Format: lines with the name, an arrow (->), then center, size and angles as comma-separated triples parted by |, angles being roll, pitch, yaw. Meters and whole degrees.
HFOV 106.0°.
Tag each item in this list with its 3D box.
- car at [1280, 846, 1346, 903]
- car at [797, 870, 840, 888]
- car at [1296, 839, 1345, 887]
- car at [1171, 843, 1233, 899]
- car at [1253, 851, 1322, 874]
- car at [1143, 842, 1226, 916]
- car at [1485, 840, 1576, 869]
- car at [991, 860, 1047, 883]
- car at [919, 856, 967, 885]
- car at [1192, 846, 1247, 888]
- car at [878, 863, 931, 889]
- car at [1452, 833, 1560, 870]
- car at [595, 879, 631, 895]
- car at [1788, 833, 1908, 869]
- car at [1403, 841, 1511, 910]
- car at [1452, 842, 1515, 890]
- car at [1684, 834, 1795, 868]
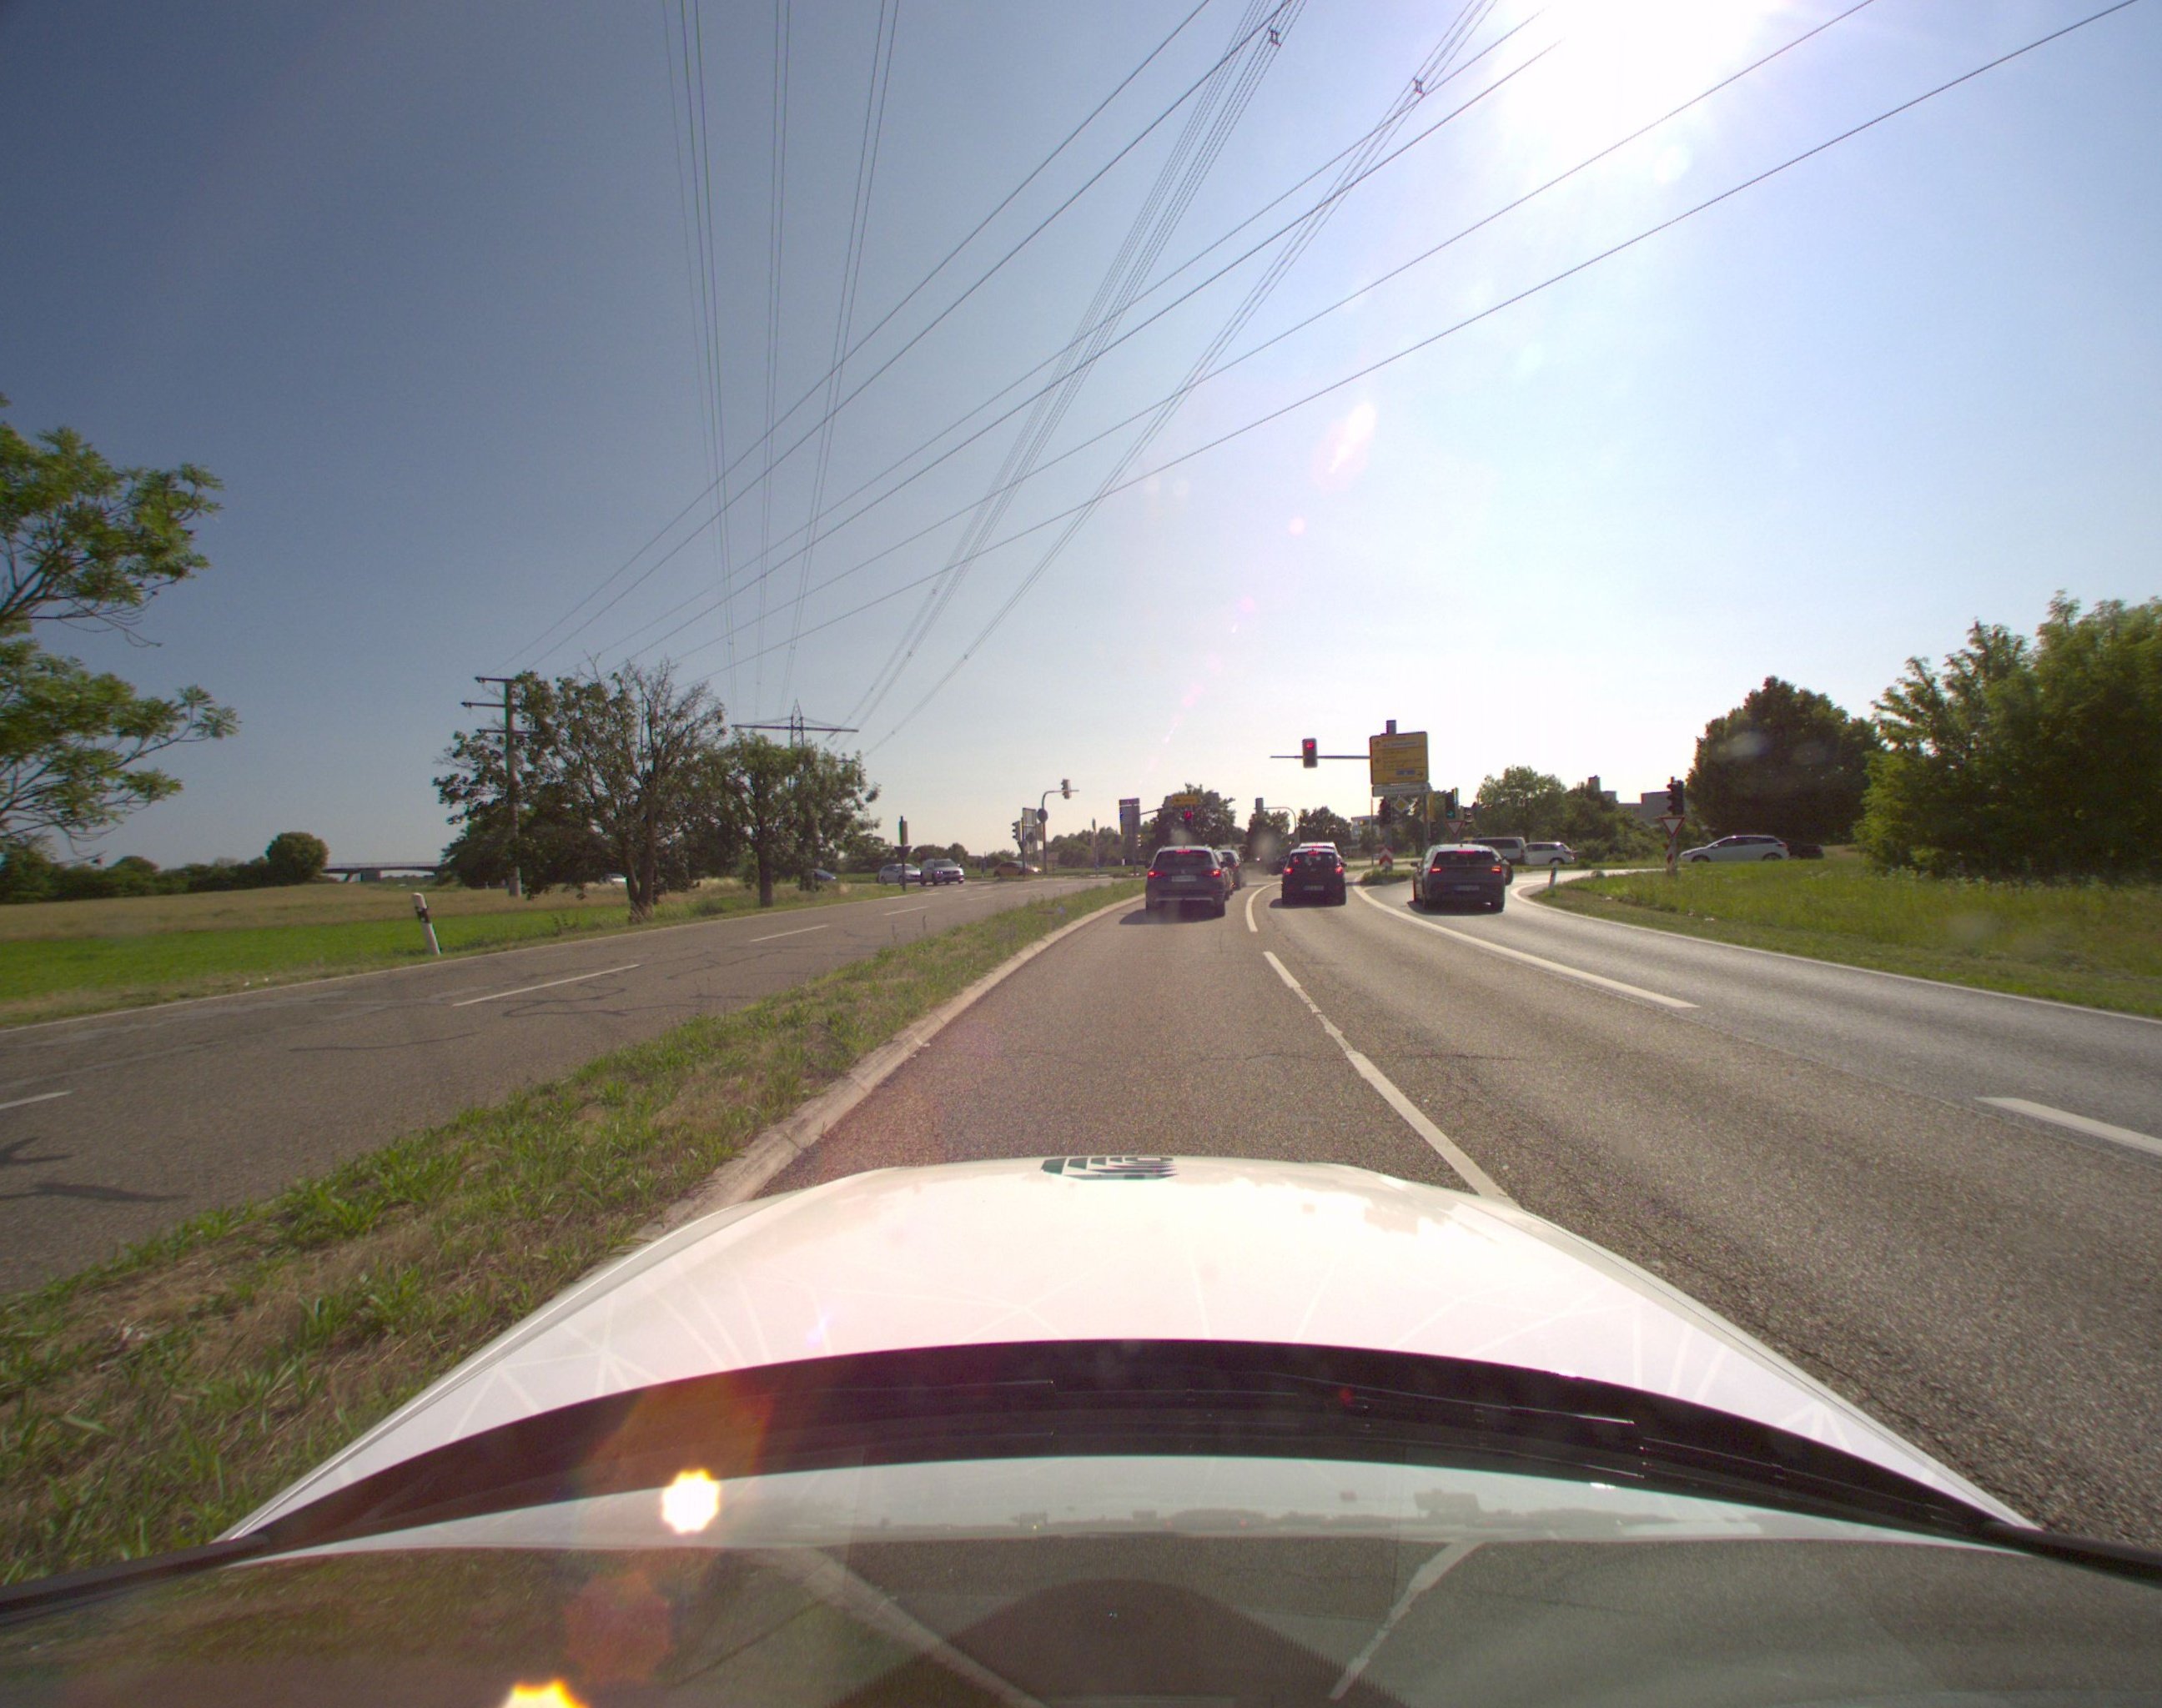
car -> 6.453, 0.529, 22.651 | 1.620, 1.448, 3.309 | -1, 0, 16
car -> -24.579, 2.346, 76.301 | 3.948, 1.651, 1.832 | -2, -1, 37
car -> 8.973, 0.307, 30.561 | 1.620, 1.677, 3.765 | -1, 0, 16
car -> 3.745, 0.496, 24.841 | 1.731, 1.569, 3.634 | 0, 0, 10
car -> 13.822, 0.602, 54.610 | 4.050, 1.416, 1.728 | -2, -1, 36
car -> 2.527, 0.548, 19.398 | 1.732, 1.569, 3.633 | -2, 0, 9
car -> 25.236, 0.038, 45.748 | 4.279, 1.519, 1.819 | -2, -1, 35
car -> -4.674, 1.320, 60.965 | 3.948, 1.651, 1.832 | -2, -1, 37
car -> -8.588, 1.009, 50.442 | 1.824, 1.651, 3.964 | -2, -1, -27
car -> 5.269, 0.466, 30.719 | 1.729, 1.484, 3.638 | 0, 0, 14
car -> -12.206, 1.520, 56.195 | 1.830, 1.651, 3.952 | -1, -1, -41
car -> 22.701, -0.132, 43.550 | 4.884, 1.918, 2.013 | 0, 0, 35
car -> -53.969, 3.795, 93.915 | 4.699, 1.651, 1.832 | -2, -1, 37
car -> 35.714, -0.138, 38.060 | 3.830, 1.519, 1.819 | -2, -1, 35
car -> 9.275, 0.465, 20.405 | 1.760, 1.517, 4.116 | -2, 0, 15
car -> 13.371, 0.355, 26.934 | 1.626, 1.385, 4.025 | -2, 0, 29
car -> 30.180, -0.123, 37.473 | 3.861, 1.465, 1.734 | -1, 0, 37
